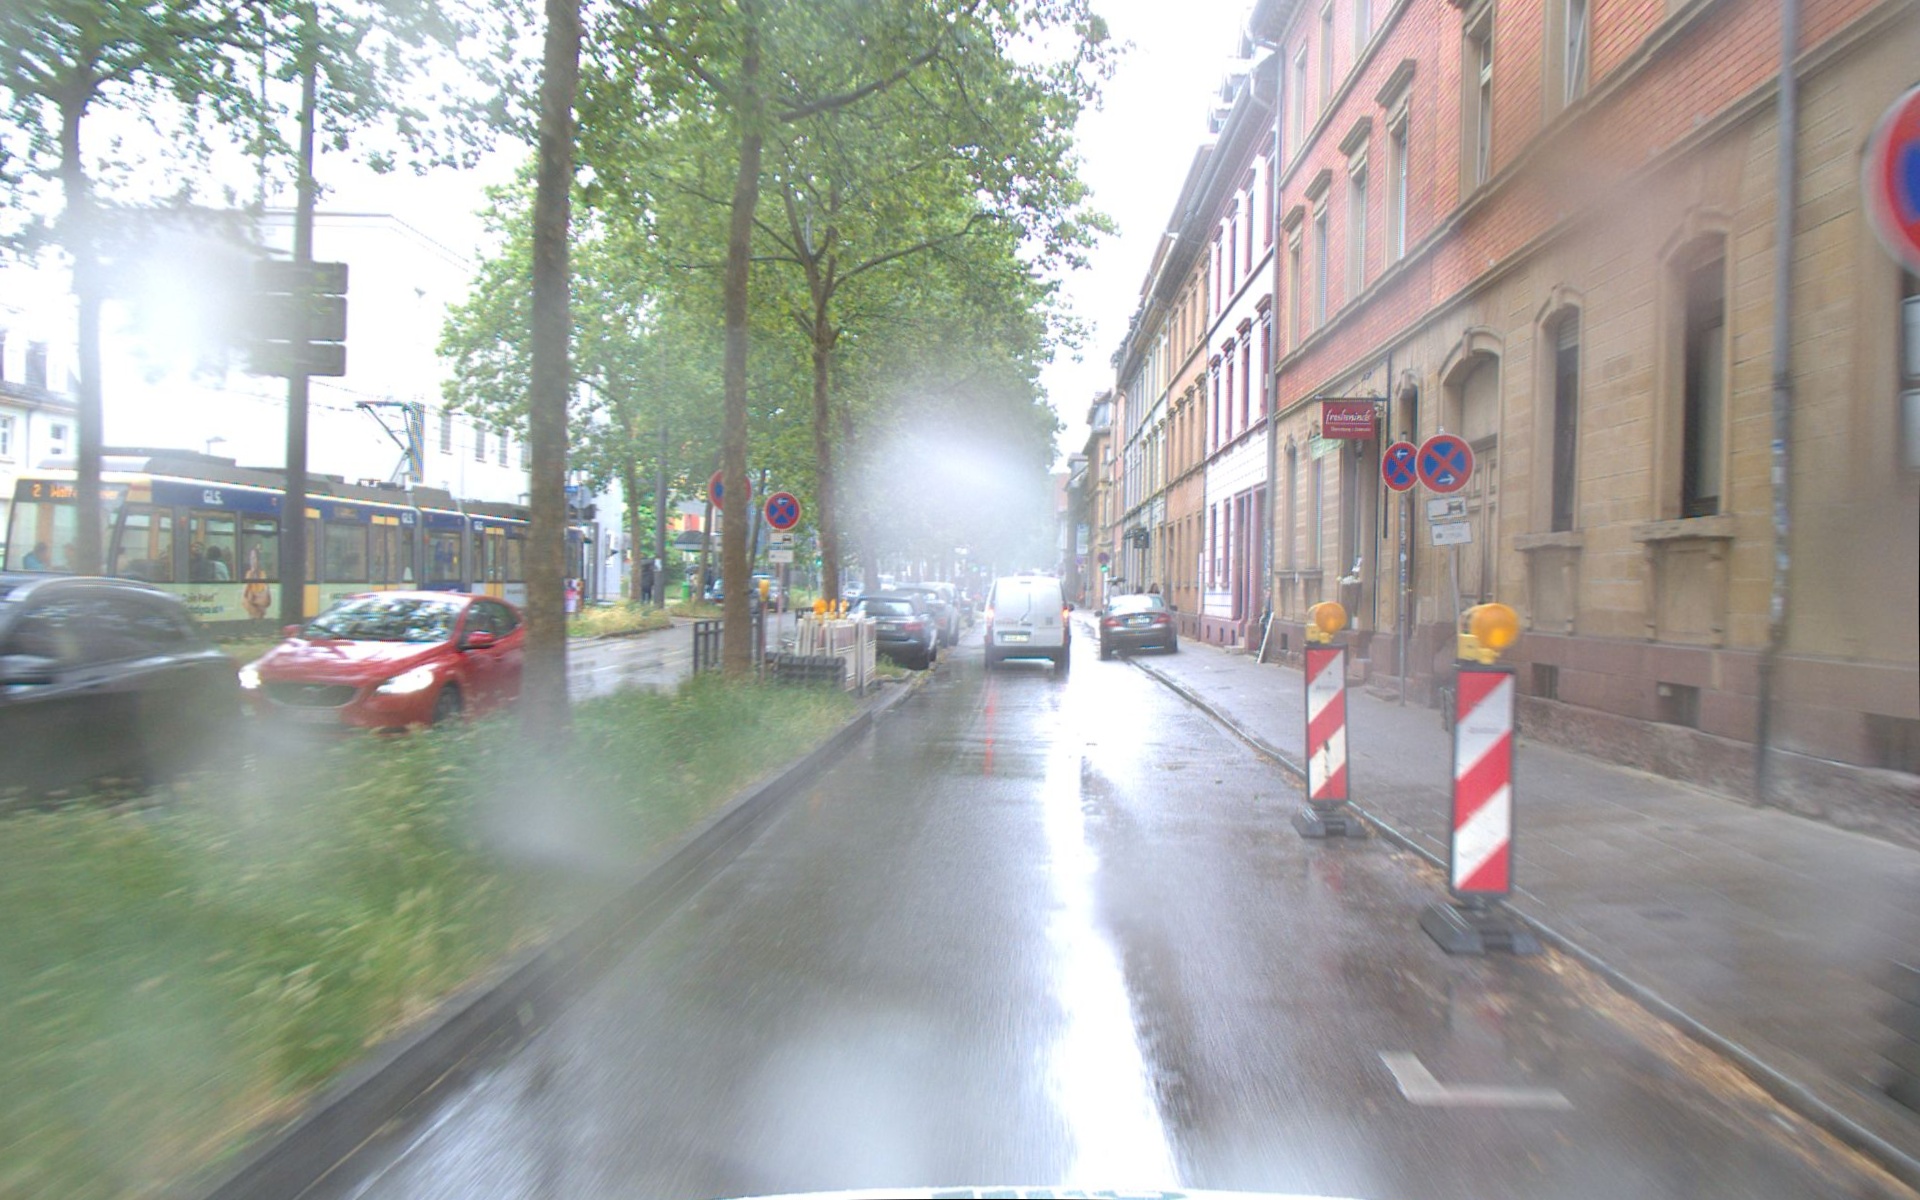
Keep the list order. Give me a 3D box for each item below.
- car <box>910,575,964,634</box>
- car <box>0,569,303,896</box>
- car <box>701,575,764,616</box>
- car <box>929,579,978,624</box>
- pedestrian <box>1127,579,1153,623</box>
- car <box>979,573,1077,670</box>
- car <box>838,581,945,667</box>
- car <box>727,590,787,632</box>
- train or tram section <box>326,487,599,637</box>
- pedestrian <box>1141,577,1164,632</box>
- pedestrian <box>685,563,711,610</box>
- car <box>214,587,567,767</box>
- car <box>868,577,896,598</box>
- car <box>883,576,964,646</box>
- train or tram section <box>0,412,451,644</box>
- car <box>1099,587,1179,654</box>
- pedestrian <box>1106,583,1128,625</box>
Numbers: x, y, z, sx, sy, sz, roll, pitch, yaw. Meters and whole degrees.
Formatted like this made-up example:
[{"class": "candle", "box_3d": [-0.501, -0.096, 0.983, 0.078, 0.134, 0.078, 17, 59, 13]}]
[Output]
[{"class": "car", "box_3d": [-0.723, 0.118, 52.286, 1.591, 1.711, 3.659, 2, 1, -1]}, {"class": "car", "box_3d": [-5.272, 0.596, 8.653, 1.705, 1.506, 4.433, 2, 1, 3]}, {"class": "car", "box_3d": [-8.553, -0.192, 62.407, 1.703, 1.366, 3.756, 4, 1, 1]}, {"class": "car", "box_3d": [-0.214, 0.051, 61.564, 1.615, 1.526, 4.120, 3, 0, 2]}, {"class": "pedestrian", "box_3d": [6.432, 0.028, 59.235, 0.822, 1.538, 1.108, -2, 0, 3]}, {"class": "car", "box_3d": [1.420, 0.446, 34.099, 1.864, 1.829, 4.114, 1, -1, 3]}, {"class": "car", "box_3d": [-1.310, 0.441, 33.362, 1.791, 1.530, 4.614, 2, 0, 1]}, {"class": "car", "box_3d": [-8.635, 0.441, 70.677, 1.952, 1.641, 4.001, 2, 1, 1]}, {"class": "train or tram section", "box_3d": [-13.788, -0.813, 47.858, 3.041, 3.621, 14.677, 1, -1, 2]}, {"class": "pedestrian", "box_3d": [6.070, 0.142, 52.250, 0.625, 1.714, 0.603, -2, 0, 1]}, {"class": "pedestrian", "box_3d": [-9.970, -0.522, 63.021, 0.801, 1.733, 0.872, 2, 0, 1]}, {"class": "car", "box_3d": [-5.193, 0.614, 15.728, 1.705, 1.422, 4.234, 2, 1, 2]}, {"class": "car", "box_3d": [-6.308, -0.993, 133.039, 1.955, 1.608, 3.994, 1, 1, -7]}, {"class": "car", "box_3d": [-0.874, 0.254, 42.357, 1.663, 1.664, 4.357, 1, 0, 4]}, {"class": "train or tram section", "box_3d": [-14.202, -1.021, 33.228, 3.041, 3.621, 14.579, 1, -1, 1]}, {"class": "car", "box_3d": [4.293, 0.459, 40.198, 1.775, 1.445, 4.700, -2, 0, 5]}, {"class": "pedestrian", "box_3d": [6.690, 0.164, 70.488, 0.822, 1.746, 1.108, -2, 0, 3]}]
